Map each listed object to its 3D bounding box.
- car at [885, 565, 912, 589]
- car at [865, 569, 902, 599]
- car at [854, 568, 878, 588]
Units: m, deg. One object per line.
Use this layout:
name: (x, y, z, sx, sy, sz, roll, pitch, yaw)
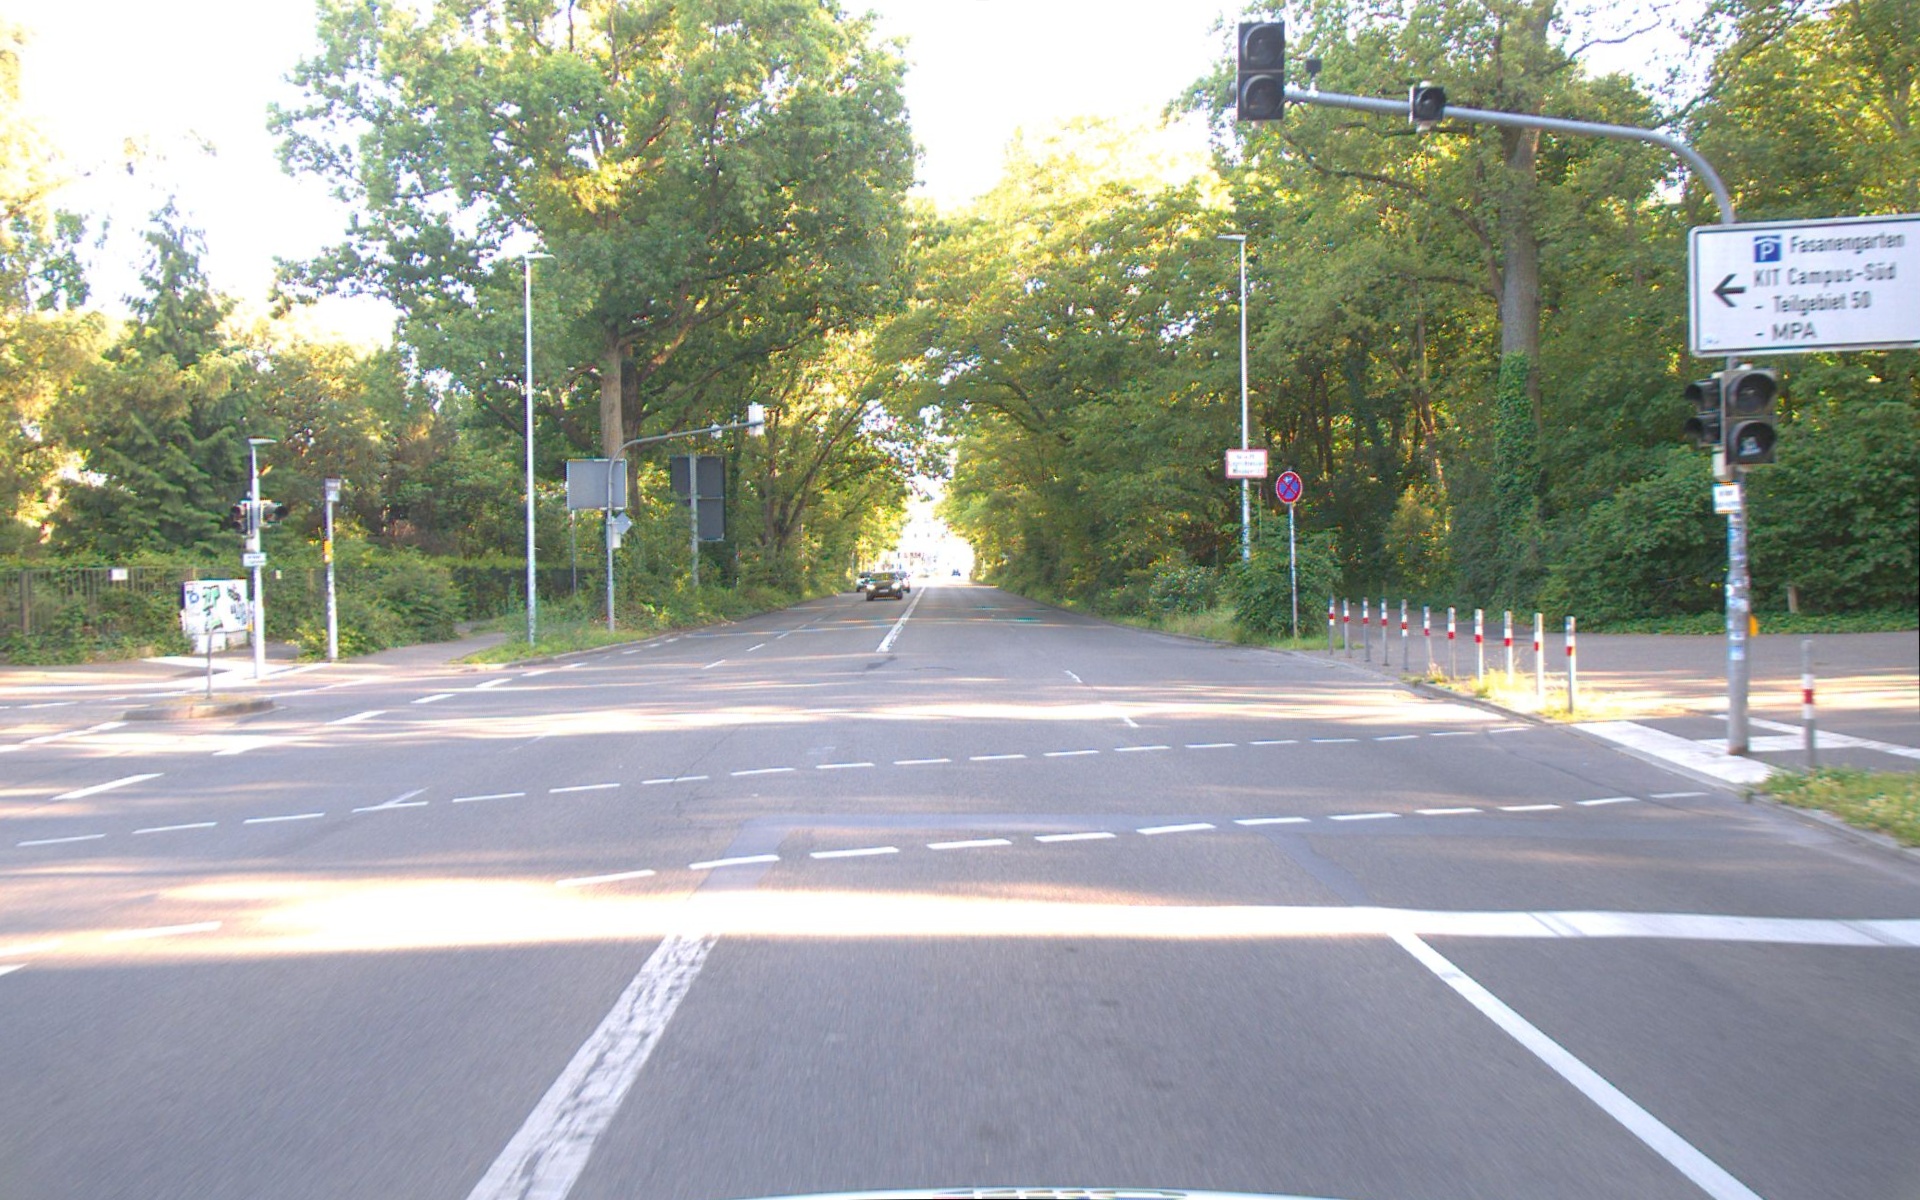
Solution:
car: (-4.164, -1.589, 112.779, 1.761, 1.532, 4.363, -2, 1, -2)
car: (-4.097, -0.883, 88.908, 1.849, 1.532, 4.363, -2, 1, -2)
car: (-7.454, -1.732, 131.055, 1.761, 1.532, 4.363, -2, 1, -2)
